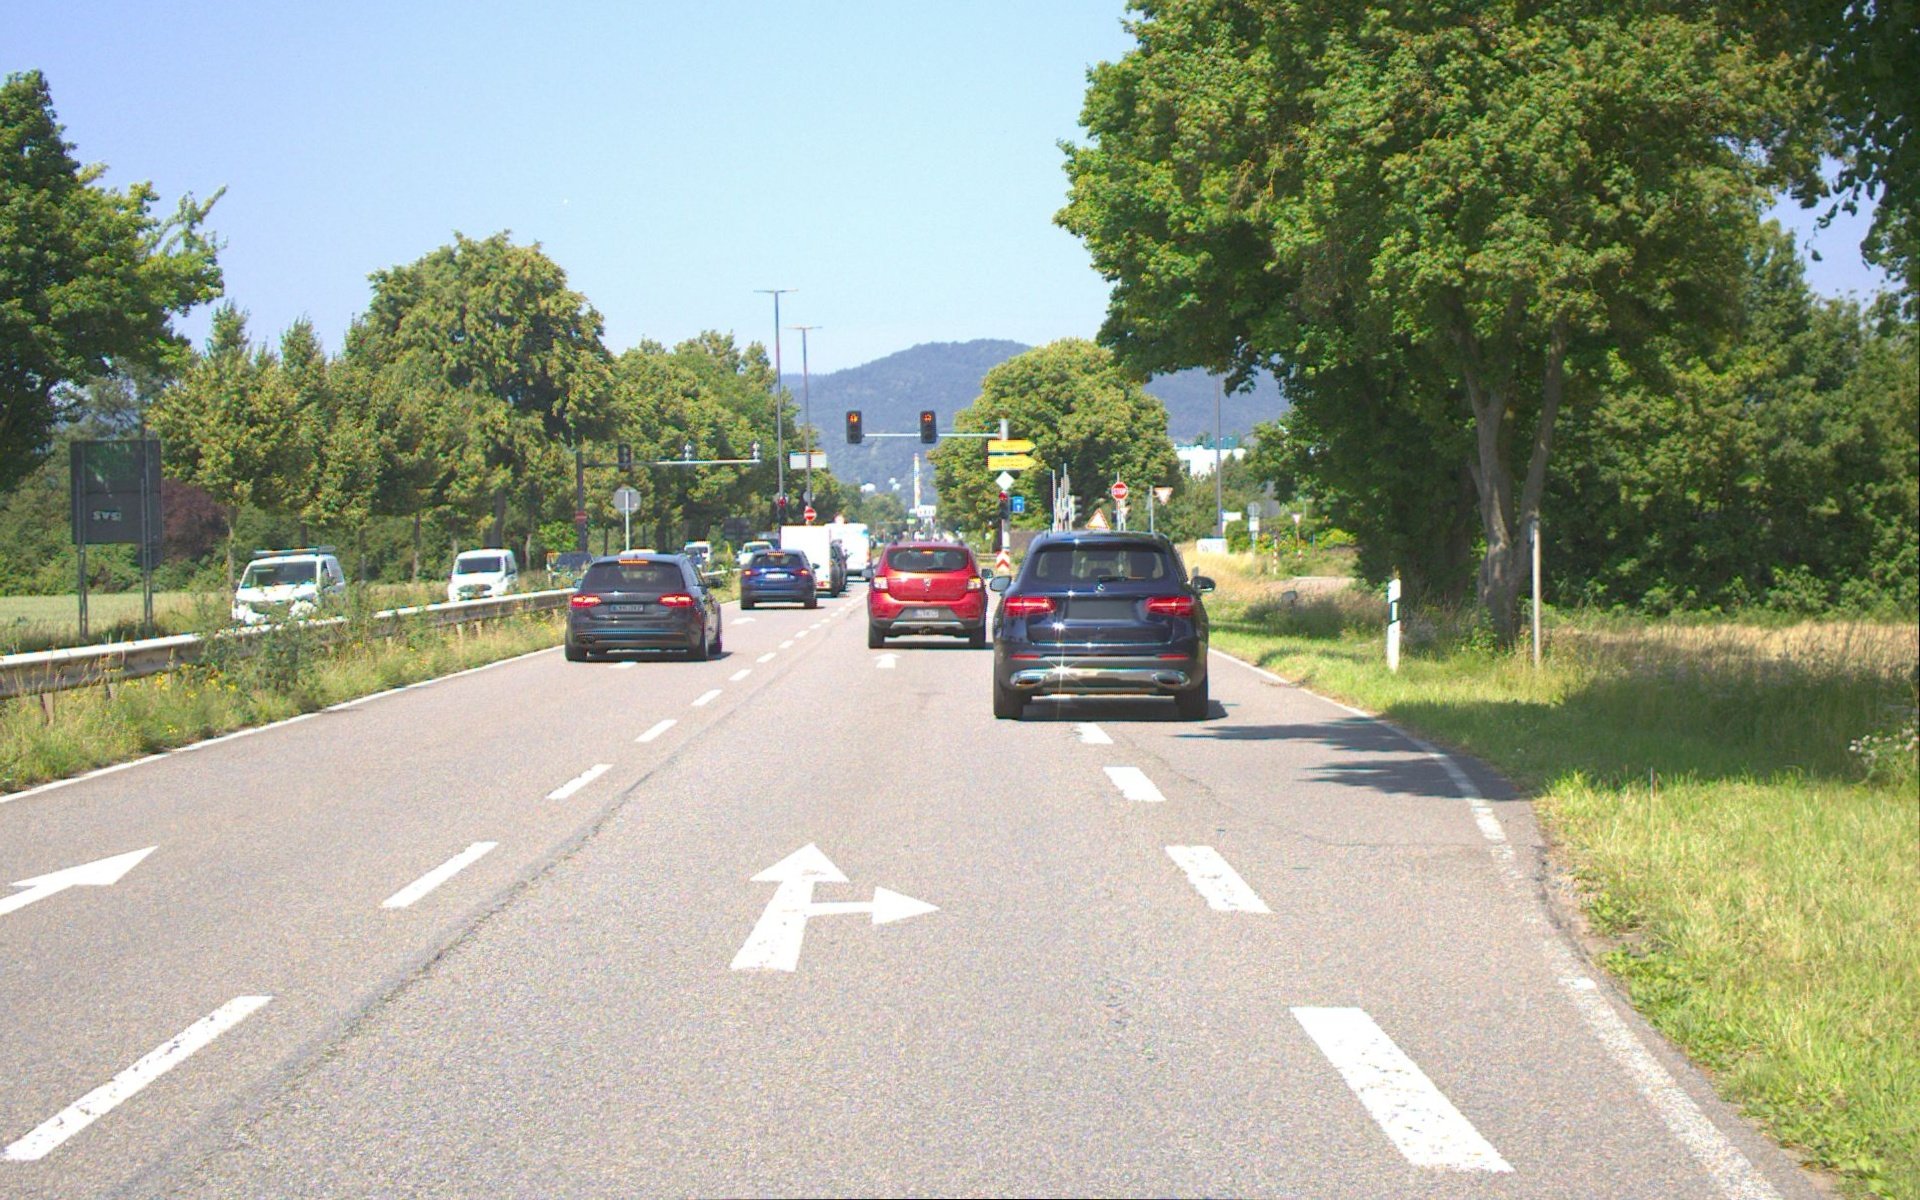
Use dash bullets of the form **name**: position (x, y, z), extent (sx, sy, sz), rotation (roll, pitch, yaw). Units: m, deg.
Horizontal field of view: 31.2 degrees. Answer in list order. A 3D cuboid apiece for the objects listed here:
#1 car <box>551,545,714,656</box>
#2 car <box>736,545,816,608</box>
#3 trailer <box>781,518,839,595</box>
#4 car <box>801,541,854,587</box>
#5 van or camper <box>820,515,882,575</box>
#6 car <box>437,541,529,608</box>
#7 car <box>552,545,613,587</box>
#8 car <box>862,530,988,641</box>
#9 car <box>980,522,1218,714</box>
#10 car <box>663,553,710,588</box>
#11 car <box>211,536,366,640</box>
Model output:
- **car**: position (-4.281, -0.029, 45.501), extent (1.740, 1.376, 4.455), rotation (0, 1, 0)
- **car**: position (-4.401, -0.581, 82.780), extent (1.717, 1.460, 4.030), rotation (-1, 1, -1)
- **trailer**: position (-4.362, -1.273, 100.425), extent (1.500, 2.166, 4.174), rotation (-2, 1, -1)
- **car**: position (-4.808, -1.325, 124.845), extent (1.724, 1.594, 3.955), rotation (-1, 1, 0)
- **van or camper**: position (-4.305, -2.196, 136.346), extent (2.179, 2.295, 4.827), rotation (-2, 1, 1)
- **car**: position (-14.637, -0.811, 105.734), extent (1.993, 1.954, 4.927), rotation (-2, 1, 1)
- **car**: position (-15.166, -1.383, 138.203), extent (1.993, 1.657, 4.481), rotation (-1, 1, -1)
- **car**: position (-0.484, -0.241, 50.565), extent (1.749, 1.570, 3.676), rotation (0, 1, 1)
- **car**: position (1.206, 0.112, 31.025), extent (1.993, 1.611, 4.339), rotation (0, 1, 1)
- **car**: position (-13.352, -1.456, 168.140), extent (1.993, 1.657, 4.481), rotation (-2, 1, -1)
- **car**: position (-13.712, -0.286, 70.447), extent (2.038, 2.007, 4.532), rotation (-1, 1, 3)
